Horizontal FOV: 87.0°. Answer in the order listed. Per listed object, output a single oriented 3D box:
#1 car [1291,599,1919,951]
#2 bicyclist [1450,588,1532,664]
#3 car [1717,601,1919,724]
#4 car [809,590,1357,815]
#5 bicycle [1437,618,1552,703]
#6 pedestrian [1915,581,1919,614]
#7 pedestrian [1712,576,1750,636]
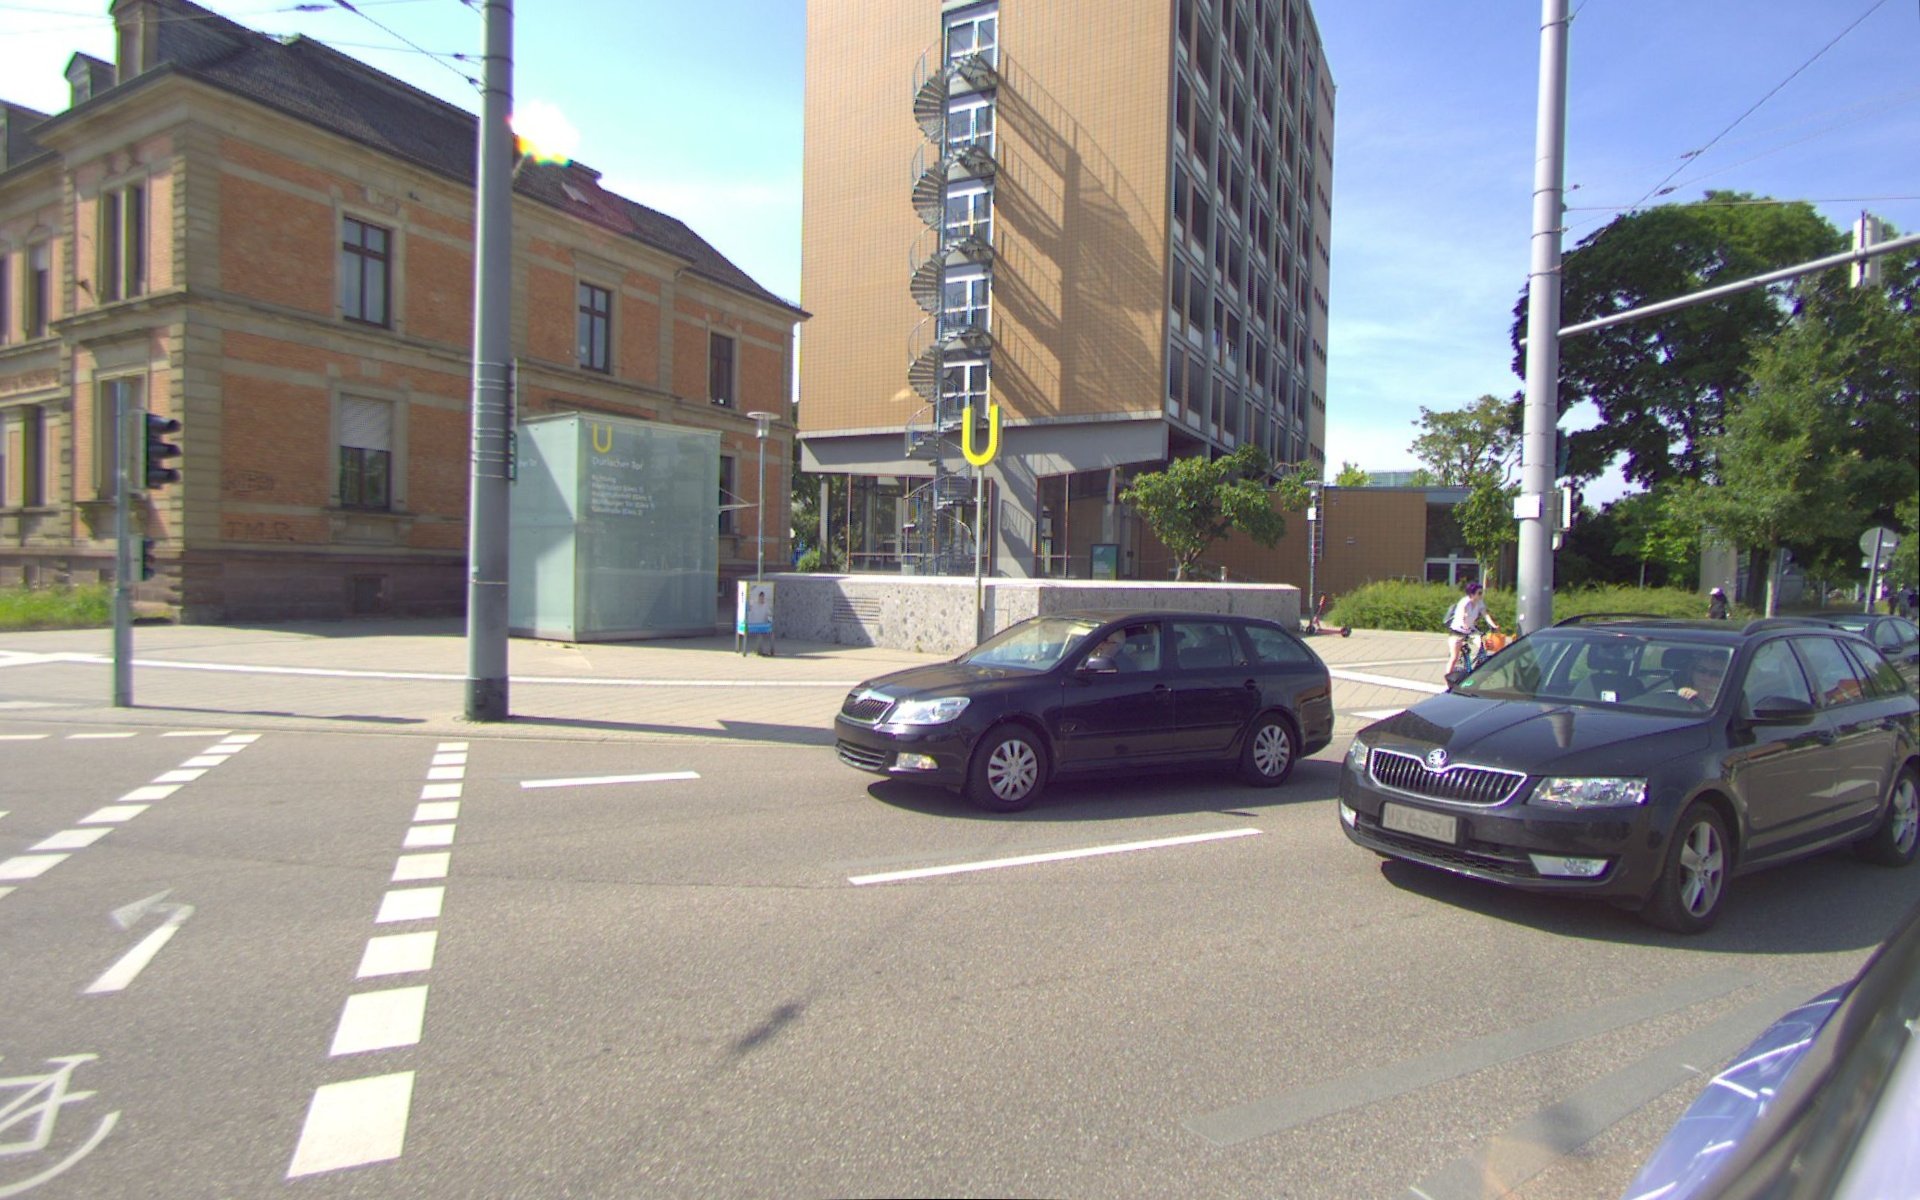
[{"bbox_3d":[4.326,0.749,6.099,4.682,1.453,1.638,0,1,-28],"label":"car"},{"bbox_3d":[7.932,0.378,15.155,0.703,1.041,0.916,1,3,2],"label":"bicyclist"},{"bbox_3d":[12.684,0.774,14.411,4.441,1.453,1.637,-1,1,-33],"label":"car"},{"bbox_3d":[1.111,0.725,8.347,4.309,1.448,1.707,2,-1,-30],"label":"car"},{"bbox_3d":[7.923,0.866,15.110,0.703,1.027,1.919,1,3,2],"label":"bicycle"},{"bbox_3d":[47.386,-0.111,49.561,0.717,1.646,0.644,0,3,-32],"label":"pedestrian"},{"bbox_3d":[22.269,0.171,29.214,0.717,1.684,0.594,0,3,-32],"label":"pedestrian"}]
